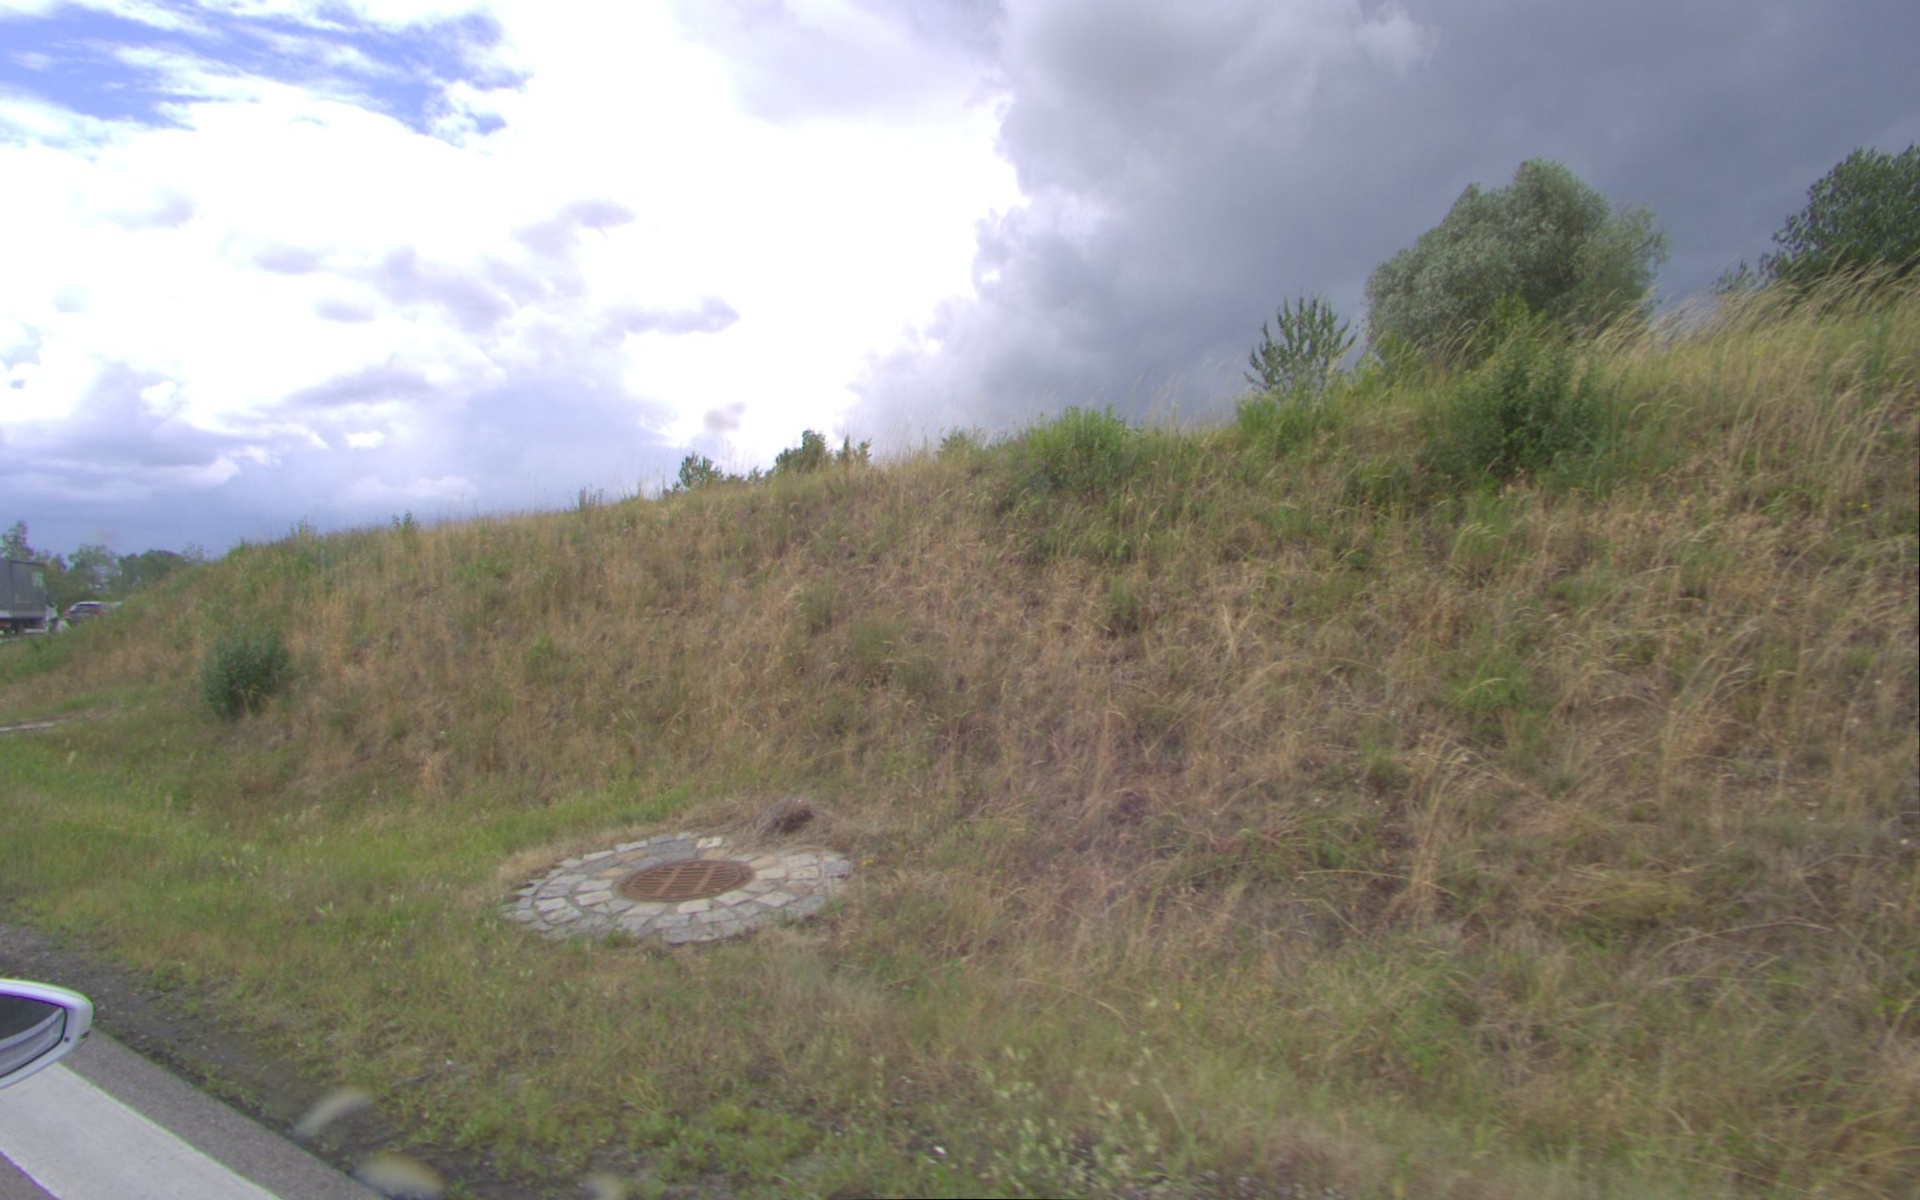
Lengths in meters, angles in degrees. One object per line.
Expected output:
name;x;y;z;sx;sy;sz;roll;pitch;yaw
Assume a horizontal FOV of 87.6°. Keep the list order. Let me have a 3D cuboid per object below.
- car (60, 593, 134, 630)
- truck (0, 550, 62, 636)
car;-50.017;0.735;58.129;1.967;2.039;3.990;0;-2;-21
truck;-45.723;-0.239;48.251;2.202;3.956;5.991;0;-2;-28
